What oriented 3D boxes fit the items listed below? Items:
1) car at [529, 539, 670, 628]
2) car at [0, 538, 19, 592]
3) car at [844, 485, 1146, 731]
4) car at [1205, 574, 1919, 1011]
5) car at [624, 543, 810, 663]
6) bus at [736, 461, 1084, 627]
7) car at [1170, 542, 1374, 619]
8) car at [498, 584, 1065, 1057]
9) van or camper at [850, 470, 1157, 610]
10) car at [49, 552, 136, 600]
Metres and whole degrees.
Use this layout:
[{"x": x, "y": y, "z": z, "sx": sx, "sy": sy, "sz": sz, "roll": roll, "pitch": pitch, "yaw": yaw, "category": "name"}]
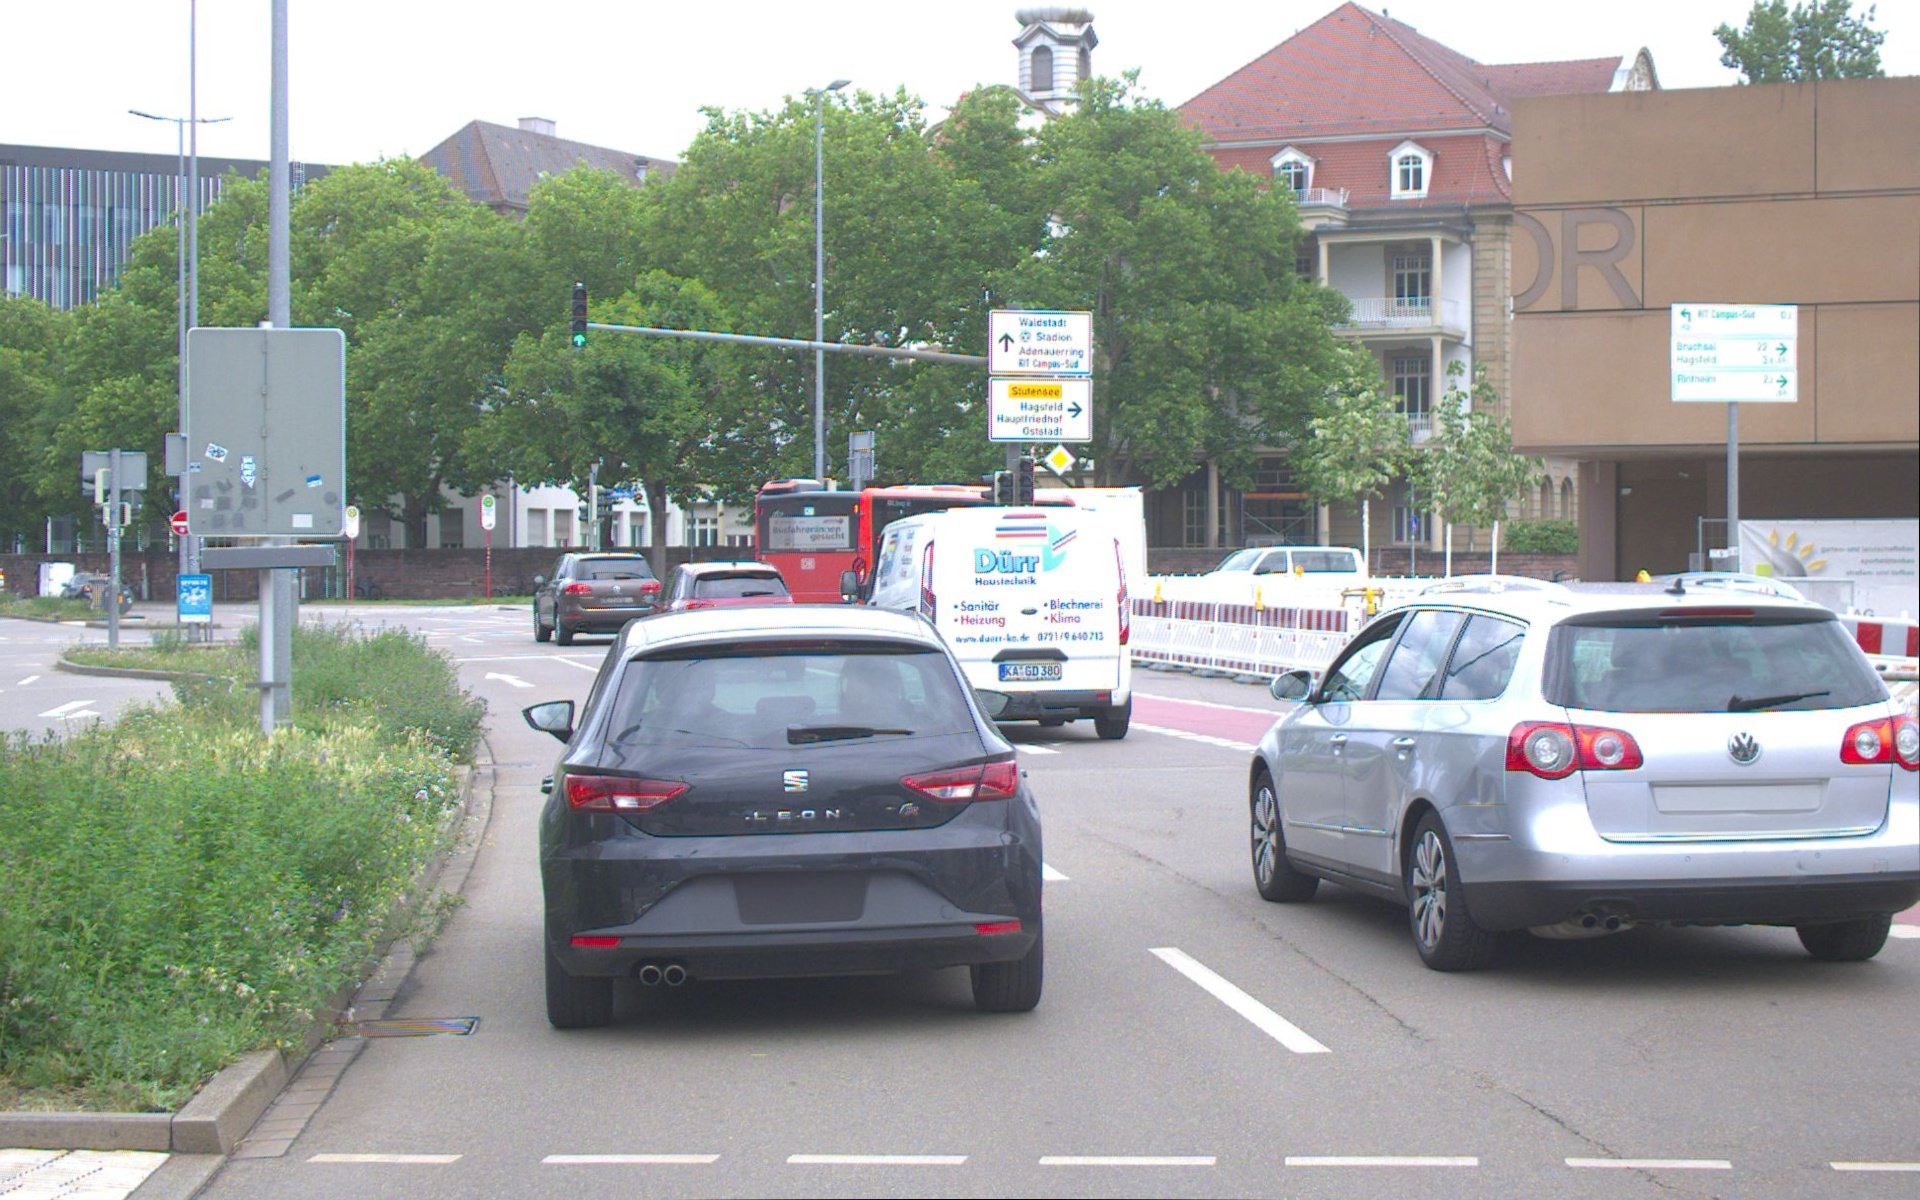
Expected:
[{"x": -6.630, "y": -0.299, "z": 62.875, "sx": 1.993, "sy": 1.560, "sz": 4.206, "roll": 0, "pitch": 0, "yaw": -14, "category": "car"}, {"x": -37.059, "y": -1.323, "z": 129.459, "sx": 1.994, "sy": 2.007, "sz": 4.000, "roll": 0, "pitch": 1, "yaw": -33, "category": "car"}, {"x": 0.207, "y": 0.051, "z": 30.776, "sx": 1.993, "sy": 2.012, "sz": 5.033, "roll": 0, "pitch": 0, "yaw": -8, "category": "car"}, {"x": 2.344, "y": 0.643, "z": 14.222, "sx": 1.720, "sy": 1.477, "sz": 4.629, "roll": -1, "pitch": 1, "yaw": -8, "category": "car"}, {"x": -3.445, "y": 0.030, "z": 48.066, "sx": 1.857, "sy": 1.595, "sz": 4.206, "roll": 0, "pitch": 0, "yaw": -15, "category": "car"}, {"x": -0.823, "y": -1.105, "z": 74.274, "sx": 3.062, "sy": 3.286, "sz": 12.365, "roll": 1, "pitch": 0, "yaw": 21, "category": "bus"}, {"x": 8.108, "y": -0.481, "z": 89.239, "sx": 4.988, "sy": 1.858, "sz": 2.000, "roll": 0, "pitch": -3, "yaw": -30, "category": "car"}, {"x": -0.836, "y": 0.699, "z": 13.159, "sx": 1.745, "sy": 1.459, "sz": 4.001, "roll": -2, "pitch": 1, "yaw": -8, "category": "car"}, {"x": 1.094, "y": -1.422, "z": 85.213, "sx": 7.128, "sy": 3.321, "sz": 2.876, "roll": 0, "pitch": -1, "yaw": -30, "category": "van or camper"}, {"x": -30.920, "y": -0.878, "z": 122.475, "sx": 1.917, "sy": 1.678, "sz": 4.000, "roll": 0, "pitch": 1, "yaw": -32, "category": "car"}]
